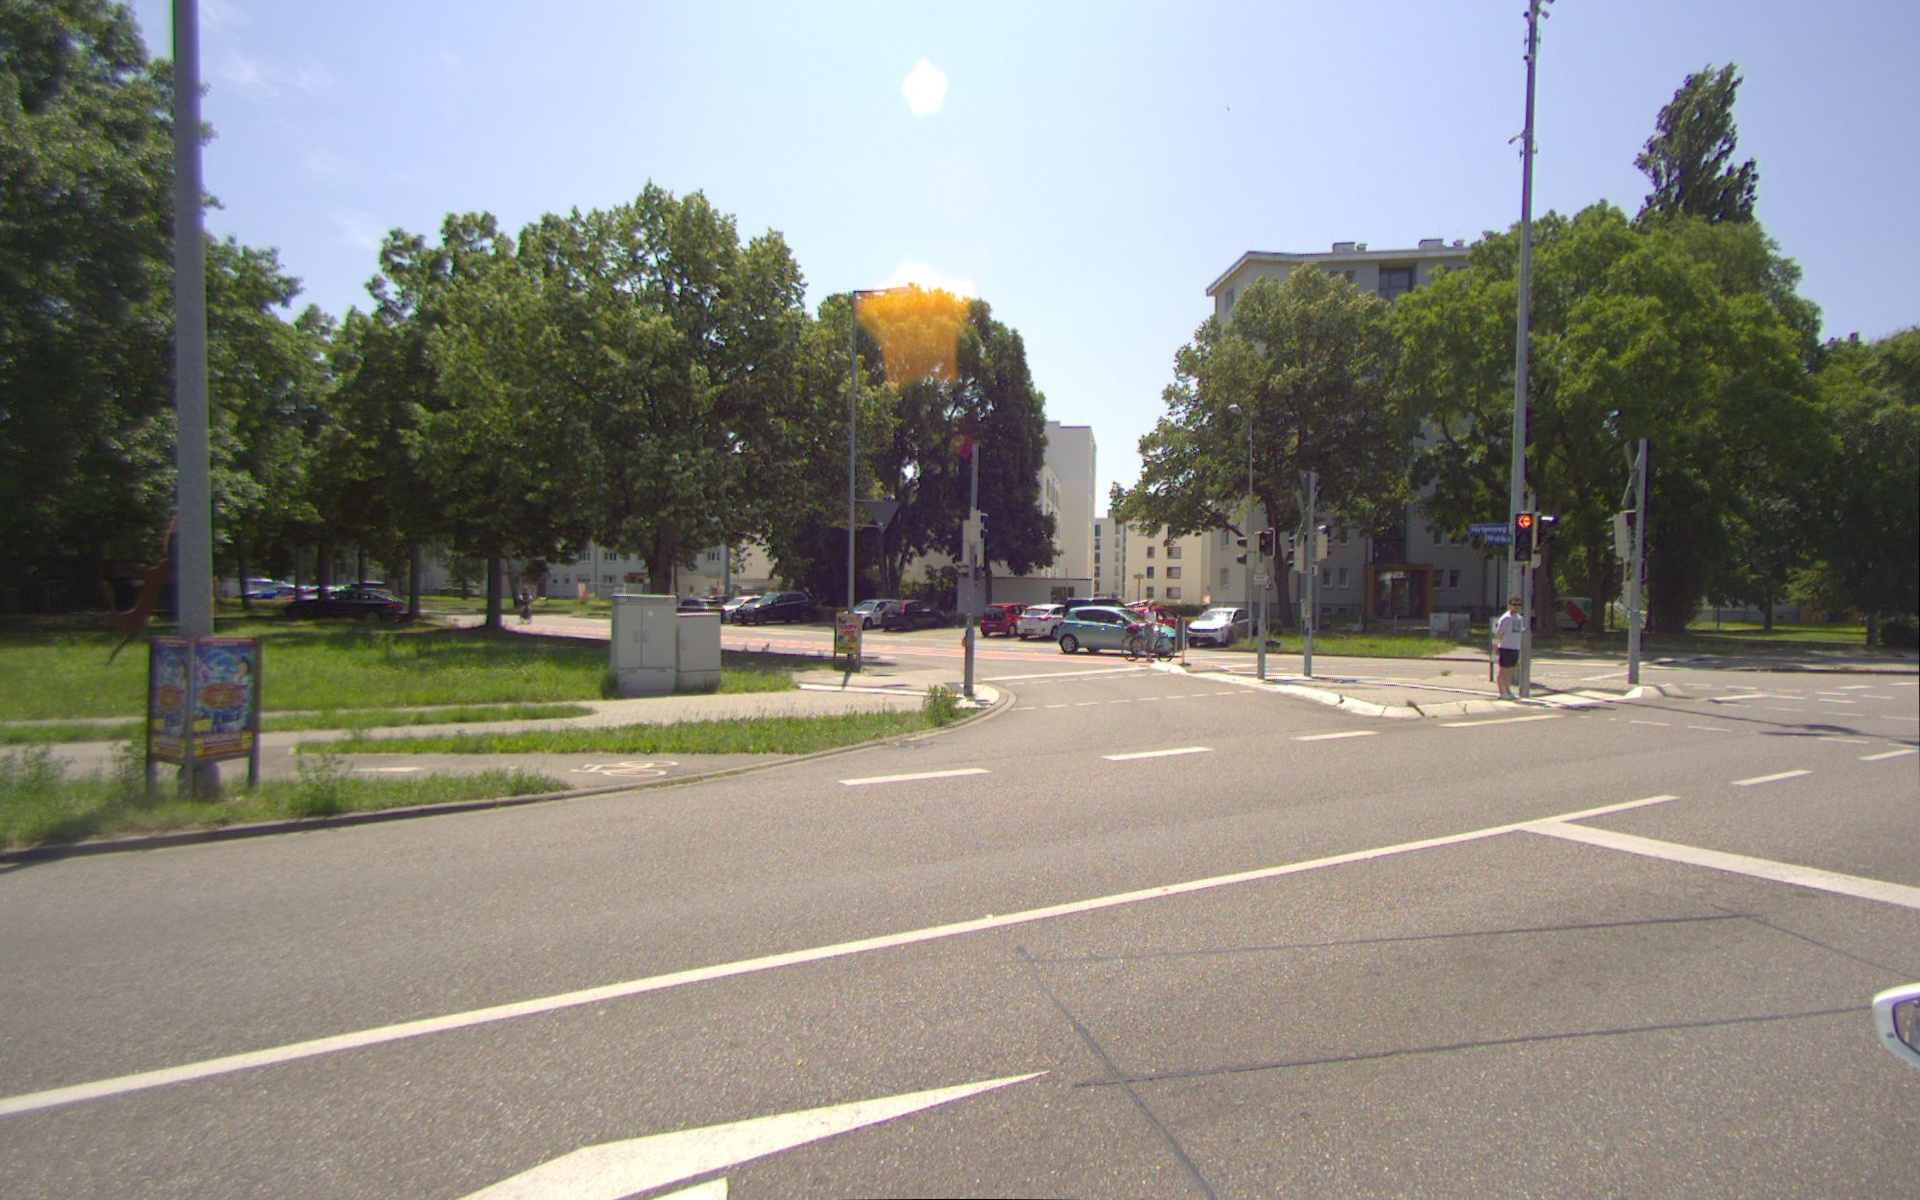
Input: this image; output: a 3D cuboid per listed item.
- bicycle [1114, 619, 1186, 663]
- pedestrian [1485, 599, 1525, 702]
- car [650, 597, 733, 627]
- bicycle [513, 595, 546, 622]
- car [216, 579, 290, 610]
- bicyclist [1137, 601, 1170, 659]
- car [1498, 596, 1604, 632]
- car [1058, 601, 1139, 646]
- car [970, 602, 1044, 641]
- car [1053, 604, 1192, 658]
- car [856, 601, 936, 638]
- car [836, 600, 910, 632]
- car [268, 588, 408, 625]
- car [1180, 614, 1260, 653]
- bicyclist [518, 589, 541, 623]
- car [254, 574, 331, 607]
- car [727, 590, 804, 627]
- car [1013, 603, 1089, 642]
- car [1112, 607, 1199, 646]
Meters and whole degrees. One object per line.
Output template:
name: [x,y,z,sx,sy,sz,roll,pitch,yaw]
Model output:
bicycle: [5.221,1.112,27.631,1.841,1.108,0.643,1,1,39]
pedestrian: [9.235,0.840,17.025,0.481,1.710,0.380,0,1,-33]
car: [-14.397,0.617,53.826,4.556,1.519,1.905,1,0,37]
bicycle: [-21.806,0.401,50.885,2.031,1.317,0.769,1,1,42]
car: [-50.876,-0.387,72.350,1.970,2.041,3.981,5,4,40]
bicyclist: [5.301,0.808,27.561,0.655,1.557,0.628,1,1,38]
car: [31.378,0.736,53.452,4.456,1.791,1.793,1,0,11]
car: [6.045,0.983,43.588,1.683,1.825,3.984,3,2,38]
car: [2.227,0.953,46.659,1.819,1.690,3.992,1,0,30]
car: [4.985,0.915,30.979,3.834,1.488,1.769,1,0,36]
car: [-3.139,0.934,49.864,1.823,1.734,3.984,0,0,38]
car: [-4.496,0.803,52.132,1.667,1.583,3.822,1,0,38]
car: [-25.904,0.258,41.998,4.504,1.487,1.995,0,1,-12]
car: [10.384,1.294,39.965,1.604,1.399,3.982,3,2,39]
bicyclist: [-21.828,0.293,50.920,0.885,1.715,0.769,1,1,41]
car: [-45.102,-0.613,67.916,1.970,2.041,3.981,5,4,40]
car: [-10.790,0.455,55.961,1.823,1.974,3.984,3,2,38]
car: [4.116,0.961,44.865,1.681,1.613,3.988,2,1,33]
car: [8.165,1.053,41.772,1.601,1.483,3.975,3,2,44]
